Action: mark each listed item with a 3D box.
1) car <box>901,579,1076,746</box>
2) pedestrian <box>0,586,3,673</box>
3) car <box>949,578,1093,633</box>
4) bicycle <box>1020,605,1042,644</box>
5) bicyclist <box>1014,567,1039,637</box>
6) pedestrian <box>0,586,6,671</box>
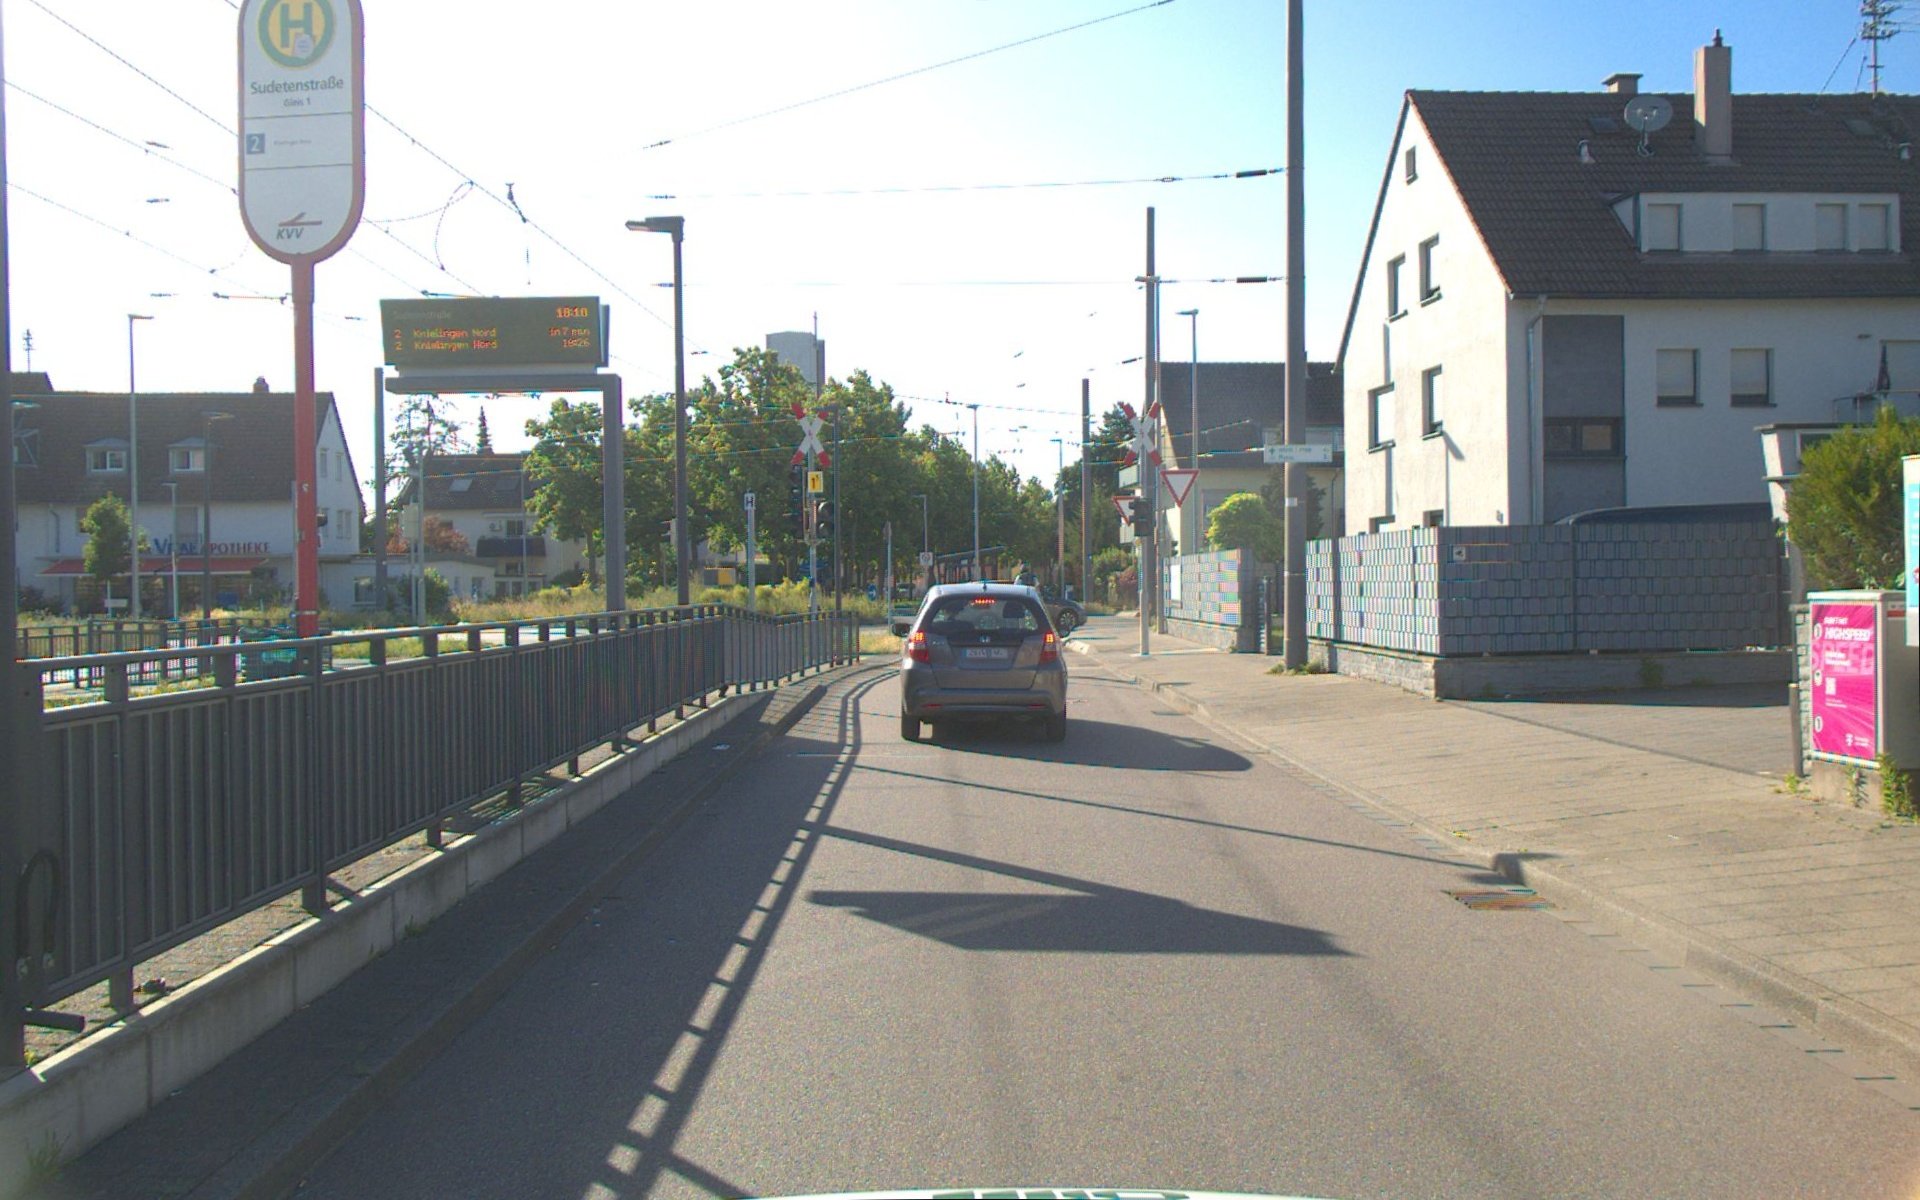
[{"bbox_3d":[0.227,0.579,17.412,1.636,1.562,3.486,1,0,-2],"label":"car"},{"bbox_3d":[-20.014,0.612,33.549,0.714,1.792,0.772,-1,0,-3],"label":"pedestrian"},{"bbox_3d":[1.808,0.178,49.280,3.928,1.556,1.797,1,0,-20],"label":"car"},{"bbox_3d":[1.802,0.611,42.038,0.465,0.978,1.657,1,0,0],"label":"bicycle"},{"bbox_3d":[1.673,0.051,41.841,0.586,1.731,0.683,1,0,-1],"label":"bicyclist"},{"bbox_3d":[-20.346,0.603,34.393,0.581,1.763,0.689,-1,0,-3],"label":"pedestrian"}]
